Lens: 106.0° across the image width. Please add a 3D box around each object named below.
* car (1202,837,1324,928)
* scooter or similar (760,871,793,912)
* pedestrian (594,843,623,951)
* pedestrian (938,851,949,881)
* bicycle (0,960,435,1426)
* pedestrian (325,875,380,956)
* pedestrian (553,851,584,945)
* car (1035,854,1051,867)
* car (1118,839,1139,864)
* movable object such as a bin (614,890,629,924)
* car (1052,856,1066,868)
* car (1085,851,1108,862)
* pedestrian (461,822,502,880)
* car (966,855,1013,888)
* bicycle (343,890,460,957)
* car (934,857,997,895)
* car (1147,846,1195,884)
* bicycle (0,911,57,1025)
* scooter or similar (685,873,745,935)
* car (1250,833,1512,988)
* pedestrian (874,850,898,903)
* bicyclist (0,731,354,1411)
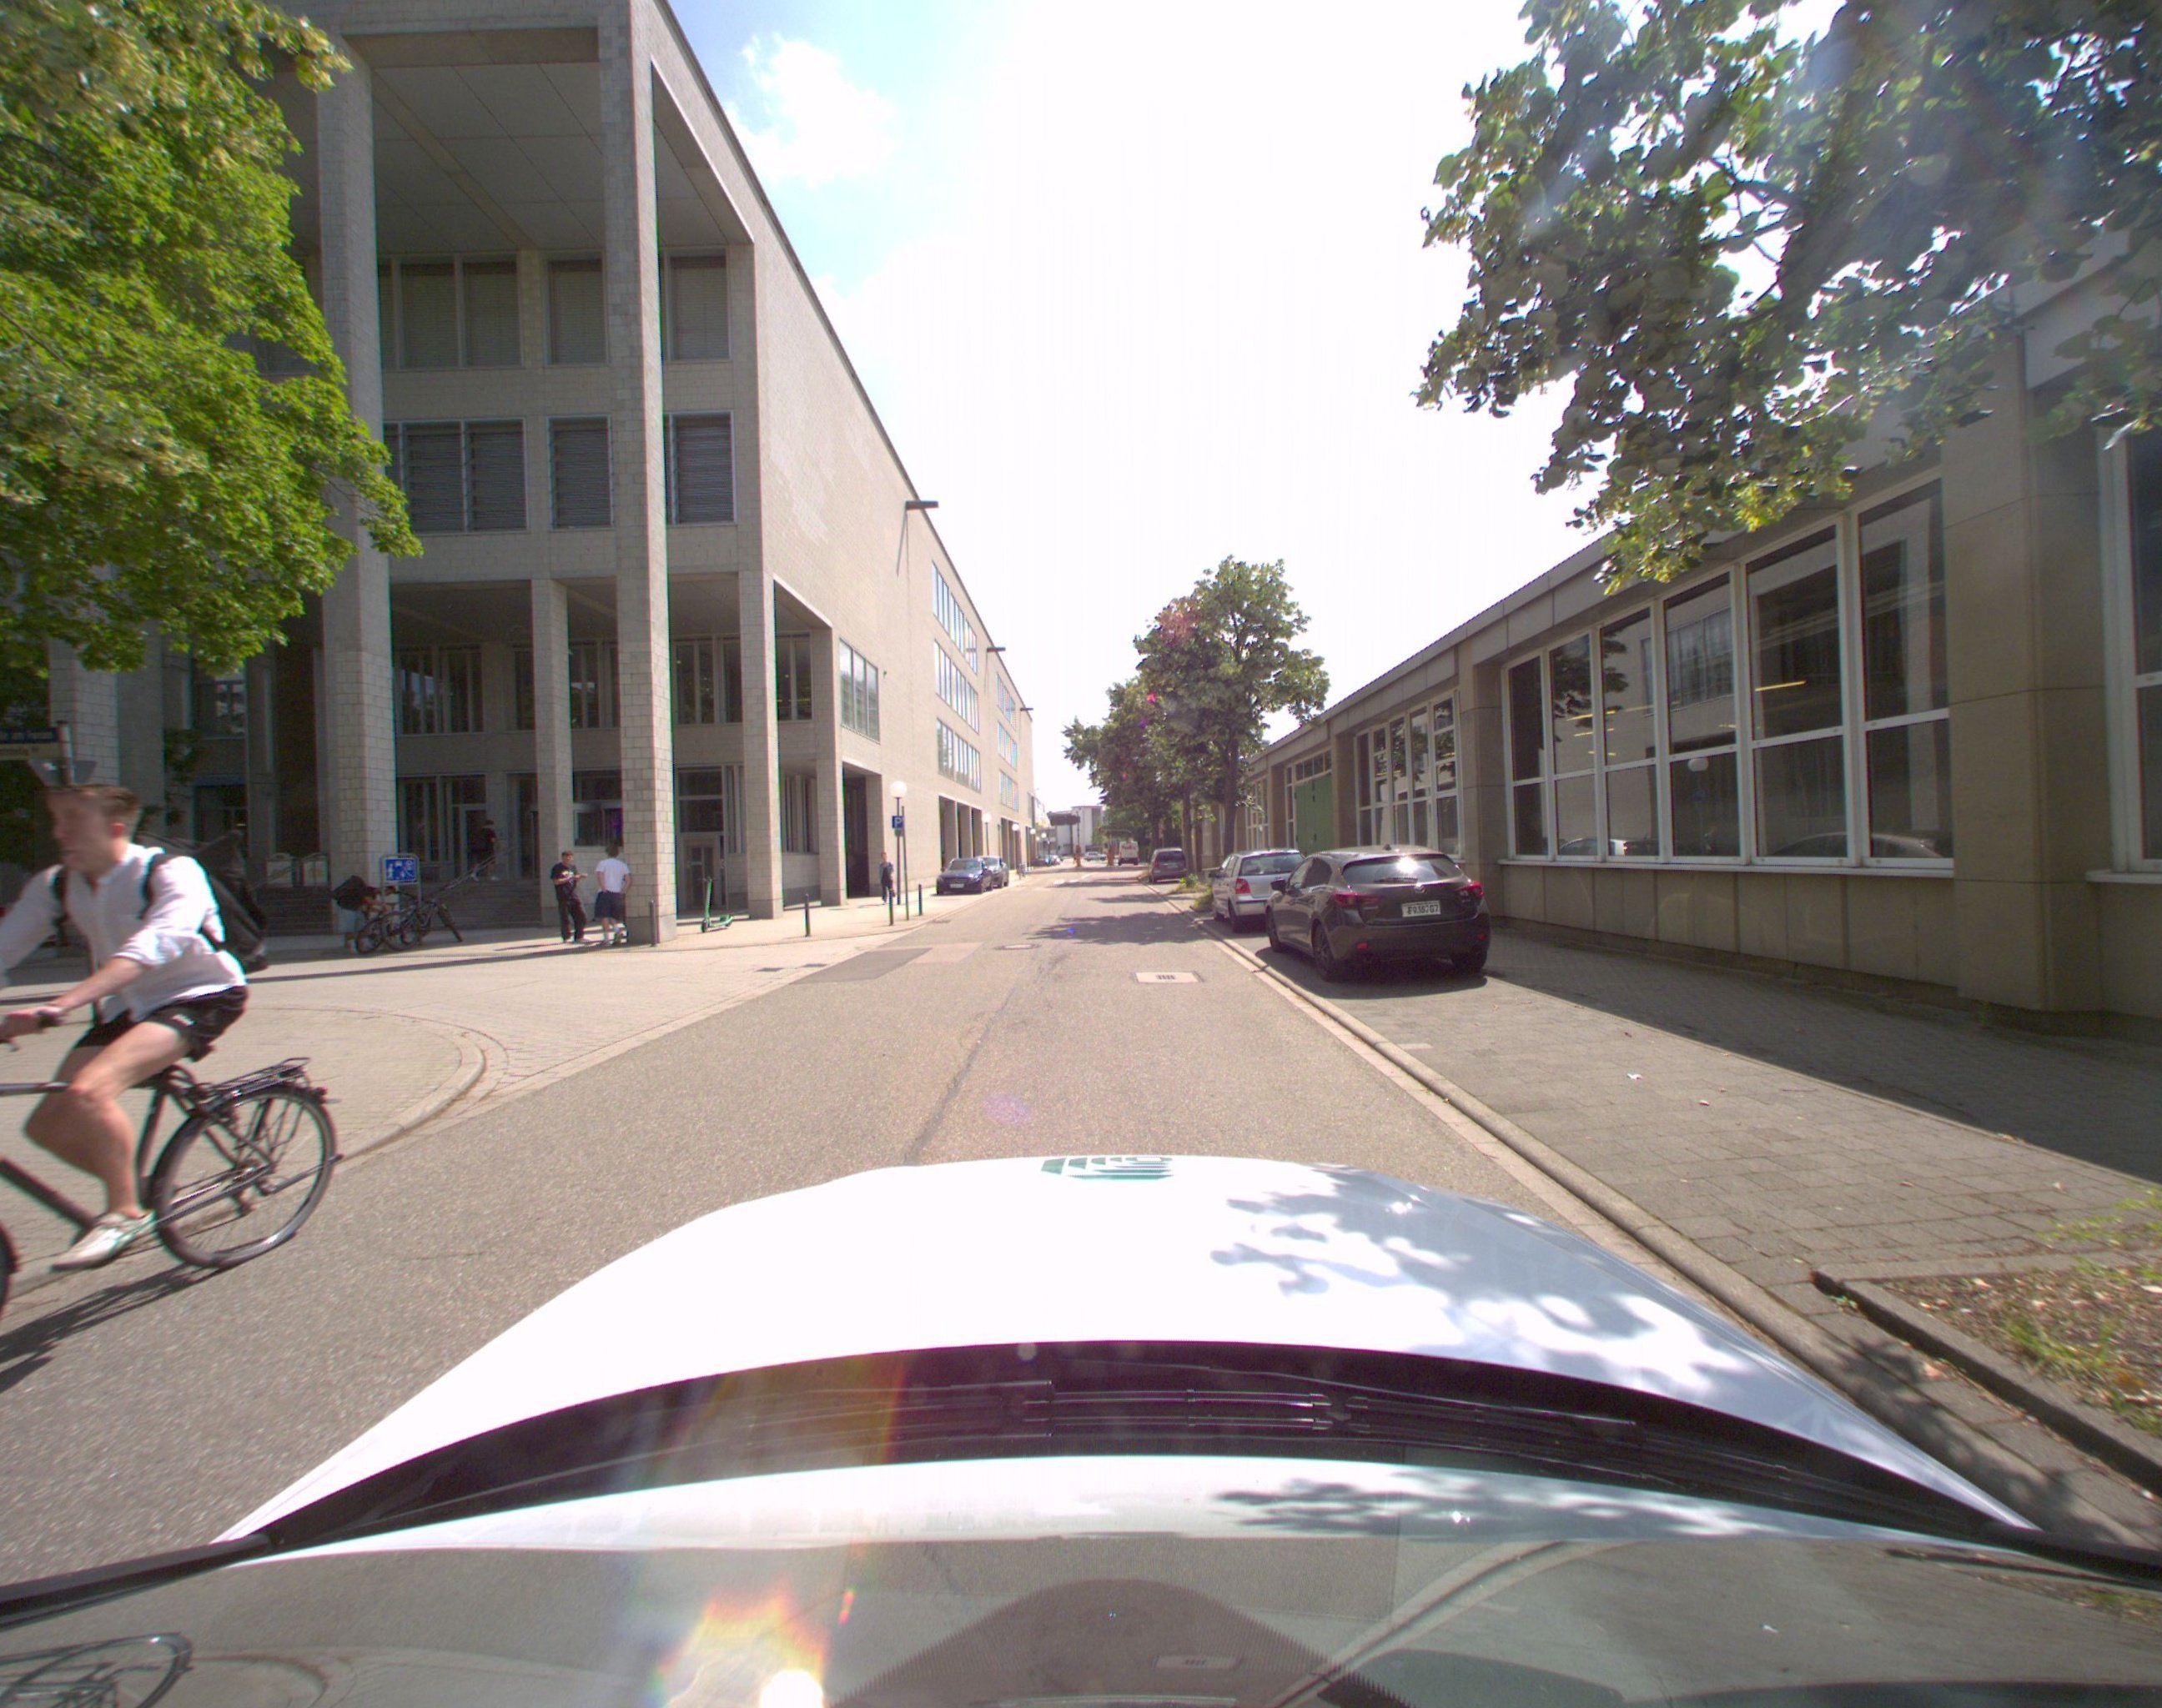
[{"bbox_3d":[3.449,0.501,16.060,1.610,1.538,3.781,-2,0,2],"label":"car"},{"bbox_3d":[-9.494,1.142,25.333,0.529,1.210,1.541,-2,0,-36],"label":"scooter or similar"},{"bbox_3d":[-8.731,0.770,15.058,0.415,1.942,0.657,-1,0,-28],"label":"pedestrian"},{"bbox_3d":[-8.752,0.778,51.941,0.509,1.841,0.735,-2,-2,0],"label":"pedestrian"},{"bbox_3d":[-3.459,1.086,2.959,0.683,1.129,1.888,-2,0,-1],"label":"bicycle"},{"bbox_3d":[-13.174,1.098,14.738,0.466,1.383,0.442,-3,3,-9],"label":"pedestrian"},{"bbox_3d":[-9.948,0.836,15.809,0.444,1.775,0.447,-2,0,-29],"label":"pedestrian"},{"bbox_3d":[-4.622,0.806,99.403,1.640,1.498,3.729,-2,-2,1],"label":"car"},{"bbox_3d":[5.107,-0.270,87.572,2.076,2.539,4.316,-1,0,1],"label":"car"},{"bbox_3d":[-12.814,1.475,22.719,0.168,0.895,0.448,-2,0,-4],"label":"movable object such as a bin"},{"bbox_3d":[-3.040,1.111,111.135,1.640,1.498,3.729,-2,-2,1],"label":"car"},{"bbox_3d":[2.894,0.466,151.327,3.963,1.904,1.801,-1,0,9],"label":"car"},{"bbox_3d":[-17.576,-0.090,23.889,0.630,1.661,0.695,-2,0,5],"label":"pedestrian"},{"bbox_3d":[-4.362,0.817,39.315,1.625,1.485,4.179,-2,0,2],"label":"car"},{"bbox_3d":[-12.647,1.264,15.230,0.463,1.014,1.868,-1,2,5],"label":"bicycle"},{"bbox_3d":[-4.742,0.887,34.023,1.759,1.427,4.238,-2,0,3],"label":"car"},{"bbox_3d":[4.192,0.486,38.471,1.851,1.574,4.002,-3,0,2],"label":"car"},{"bbox_3d":[-10.896,1.134,7.440,0.550,1.086,1.973,0,0,1],"label":"bicycle"},{"bbox_3d":[-7.914,1.058,17.688,0.452,1.223,1.551,-2,0,5],"label":"scooter or similar"},{"bbox_3d":[3.530,0.576,10.574,1.774,1.476,4.463,-4,0,1],"label":"car"},{"bbox_3d":[-6.424,0.717,26.911,0.649,1.701,0.886,-2,0,-9],"label":"pedestrian"},{"bbox_3d":[-3.479,0.660,2.925,0.709,2.013,1.018,-3,0,-1],"label":"bicyclist"}]
